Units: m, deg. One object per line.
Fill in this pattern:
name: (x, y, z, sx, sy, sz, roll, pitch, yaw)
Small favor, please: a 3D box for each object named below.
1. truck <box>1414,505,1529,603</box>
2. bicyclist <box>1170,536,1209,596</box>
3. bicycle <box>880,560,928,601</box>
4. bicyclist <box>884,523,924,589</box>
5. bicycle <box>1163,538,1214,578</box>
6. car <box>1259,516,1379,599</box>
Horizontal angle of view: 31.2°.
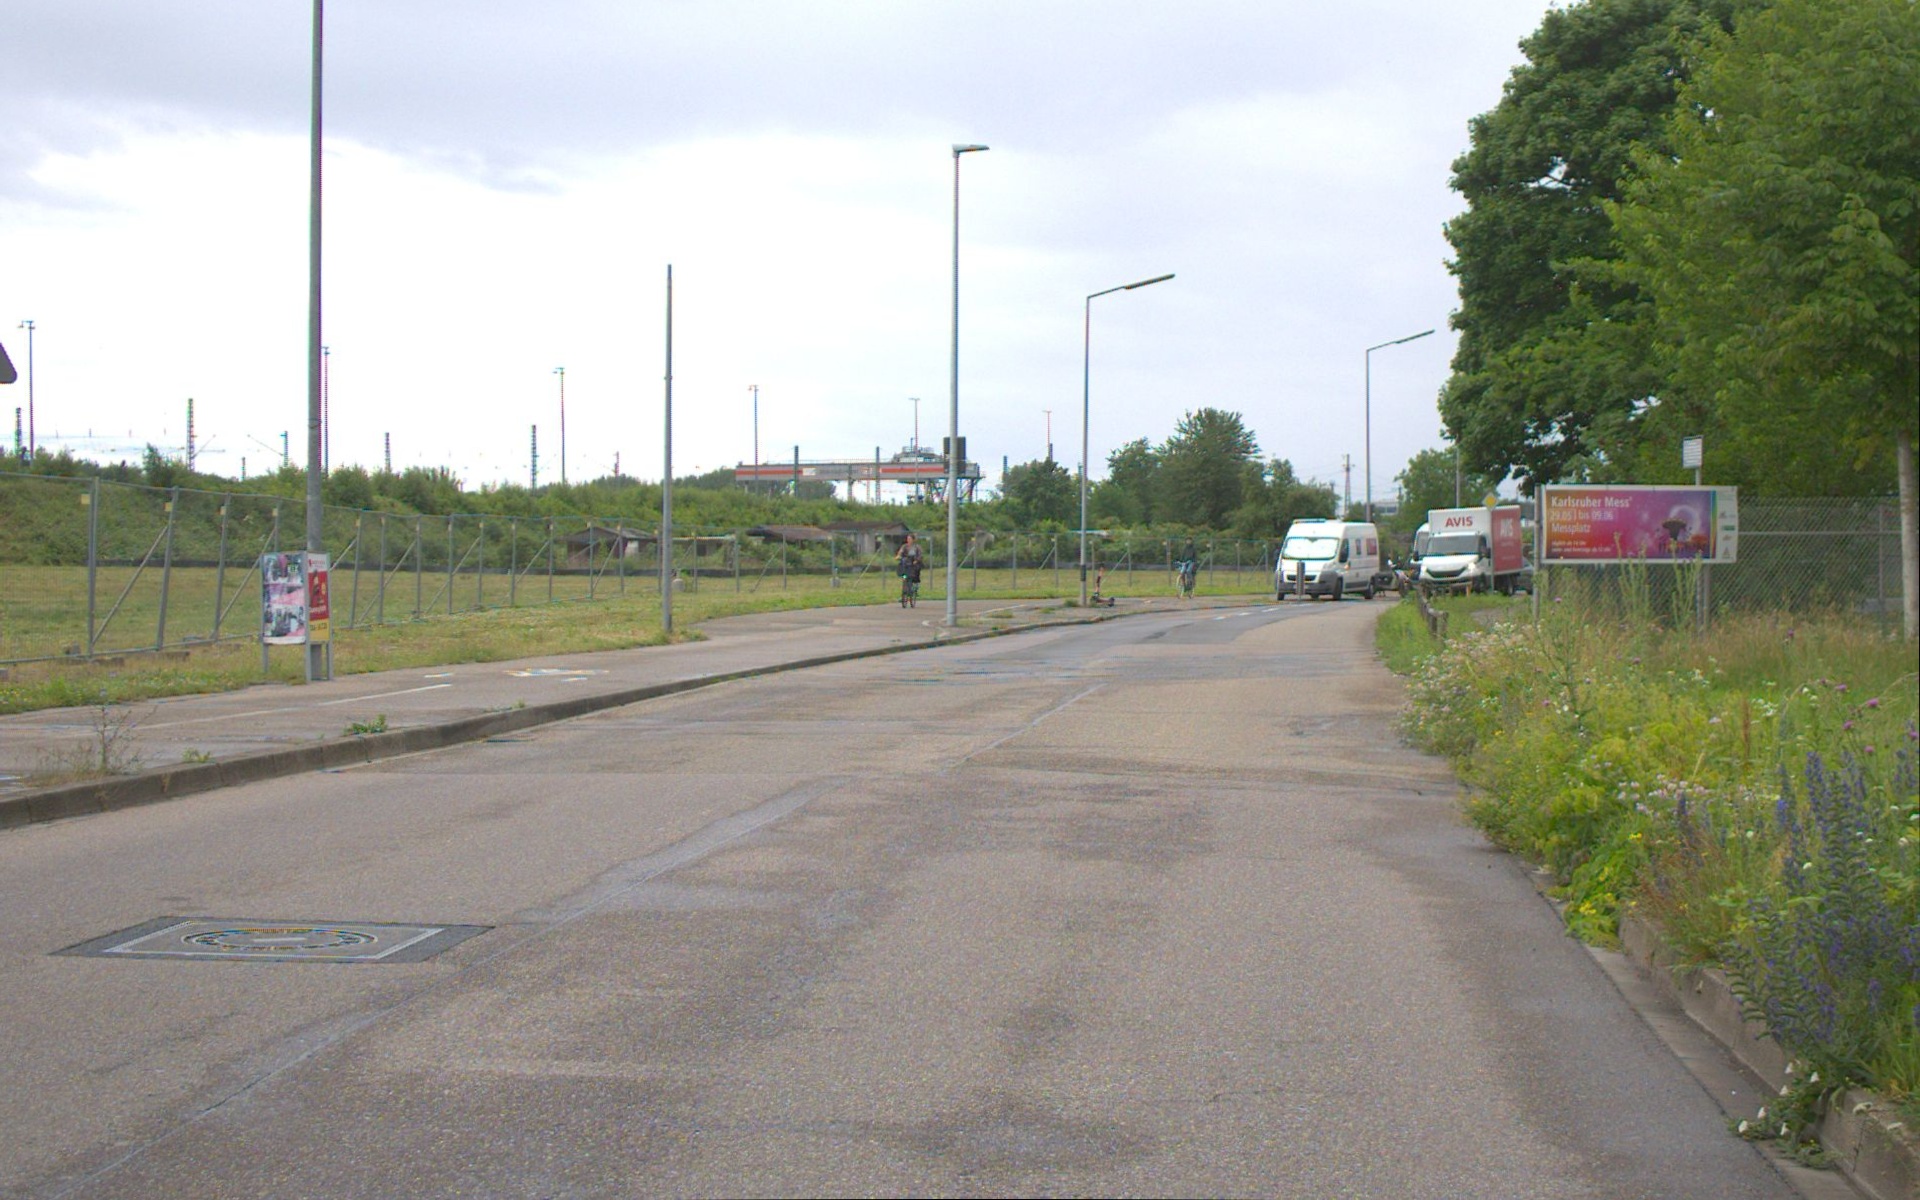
truck: (17.004, -1.544, 113.892, 2.343, 3.052, 7.490, -2, 0, 19)
bicyclist: (7.035, -1.055, 105.333, 0.828, 1.815, 1.329, 1, 1, 22)
bicycle: (-1.295, -0.464, 79.757, 0.803, 0.904, 2.232, 0, 1, 7)
bicyclist: (-1.295, -1.025, 79.755, 0.782, 1.521, 1.093, 0, 1, 7)
bicycle: (7.002, -1.291, 105.289, 0.820, 1.200, 2.554, 1, 2, 22)
car: (11.445, -1.383, 109.082, 2.291, 2.547, 6.404, 0, 1, 20)
